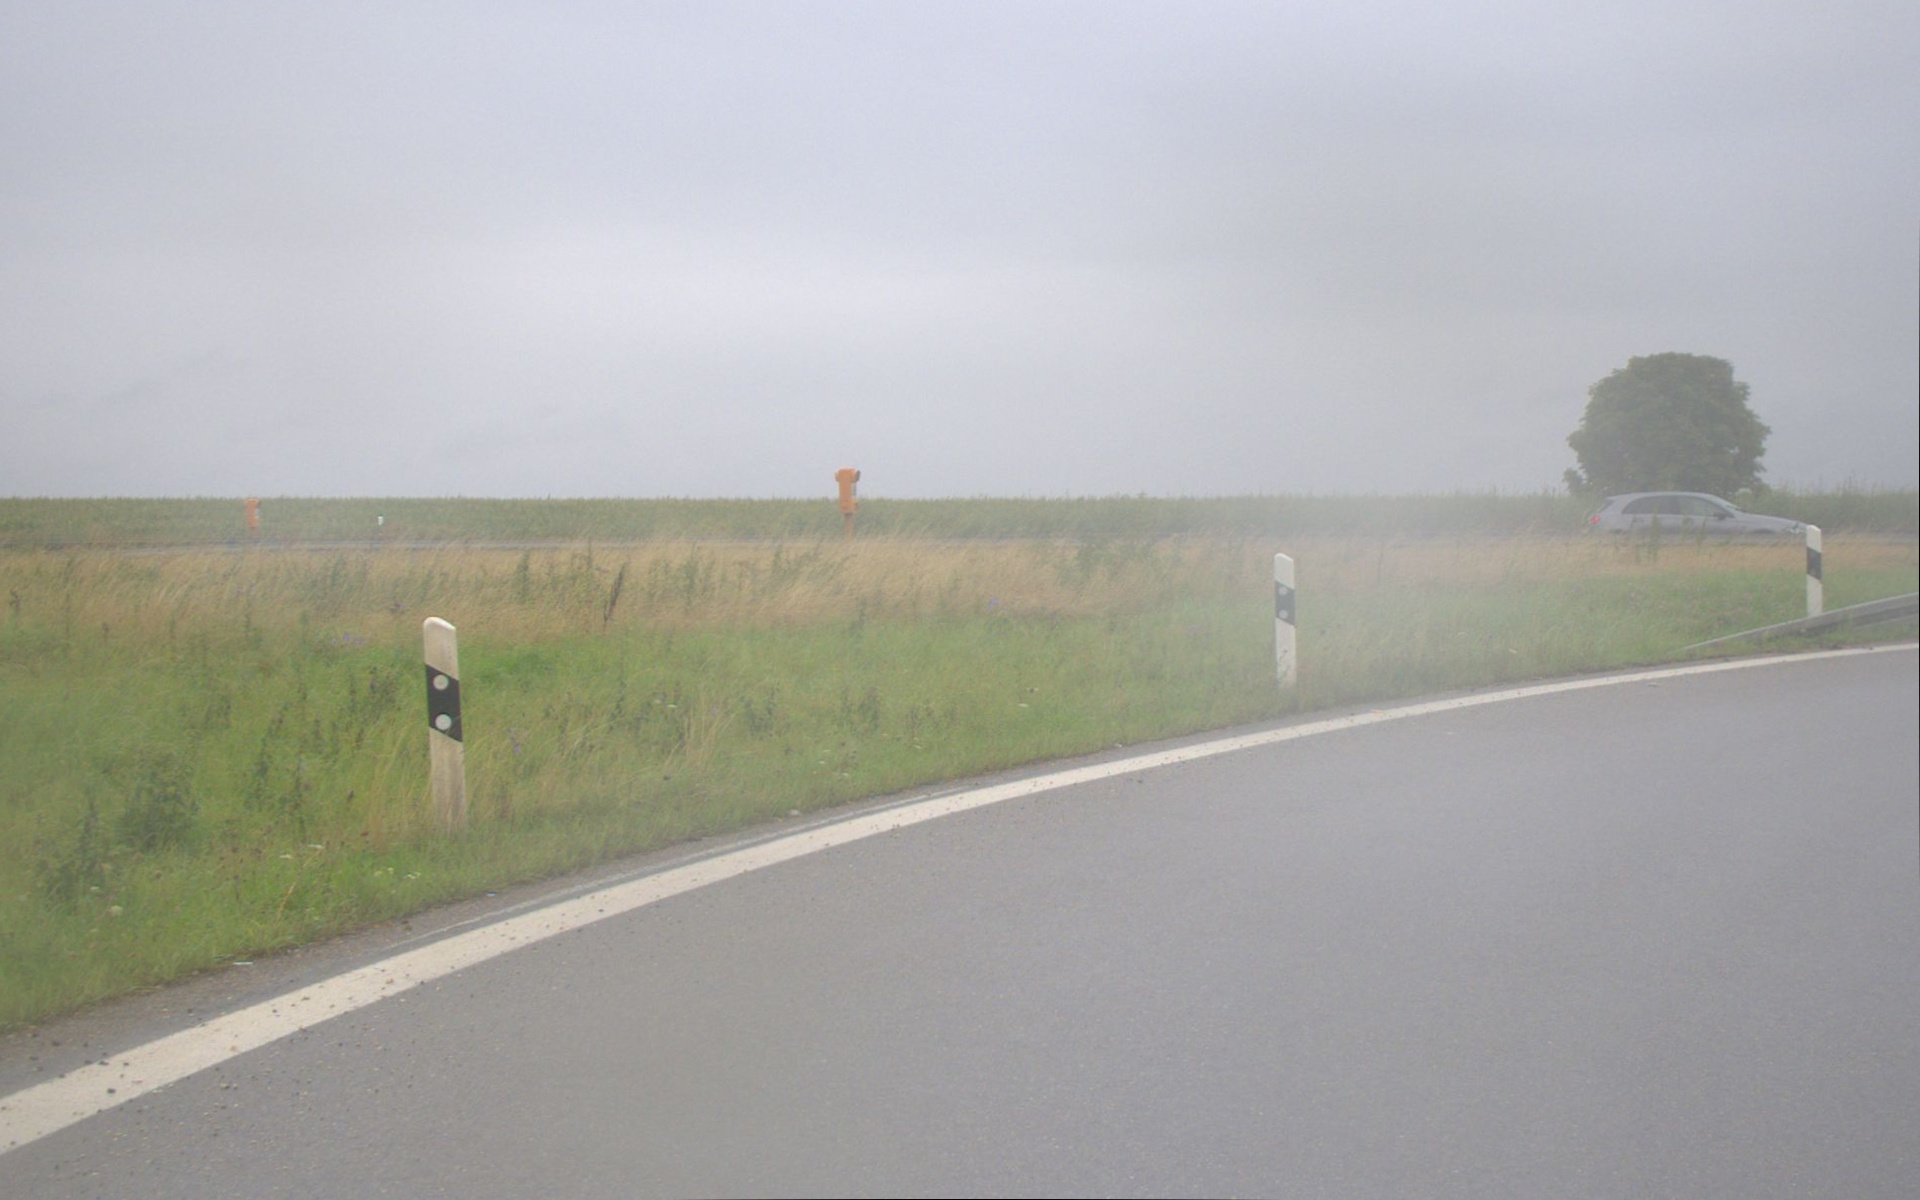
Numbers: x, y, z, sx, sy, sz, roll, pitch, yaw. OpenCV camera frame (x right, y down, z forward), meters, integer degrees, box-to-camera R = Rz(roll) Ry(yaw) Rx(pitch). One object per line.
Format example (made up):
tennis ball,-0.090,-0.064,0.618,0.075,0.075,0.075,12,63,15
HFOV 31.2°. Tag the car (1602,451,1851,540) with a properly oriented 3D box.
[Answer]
car,14.538,-1.971,65.198,4.340,1.630,2.058,0,2,22

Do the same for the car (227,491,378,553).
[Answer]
car,-19.257,-2.291,100.707,3.990,1.730,1.734,0,2,18
